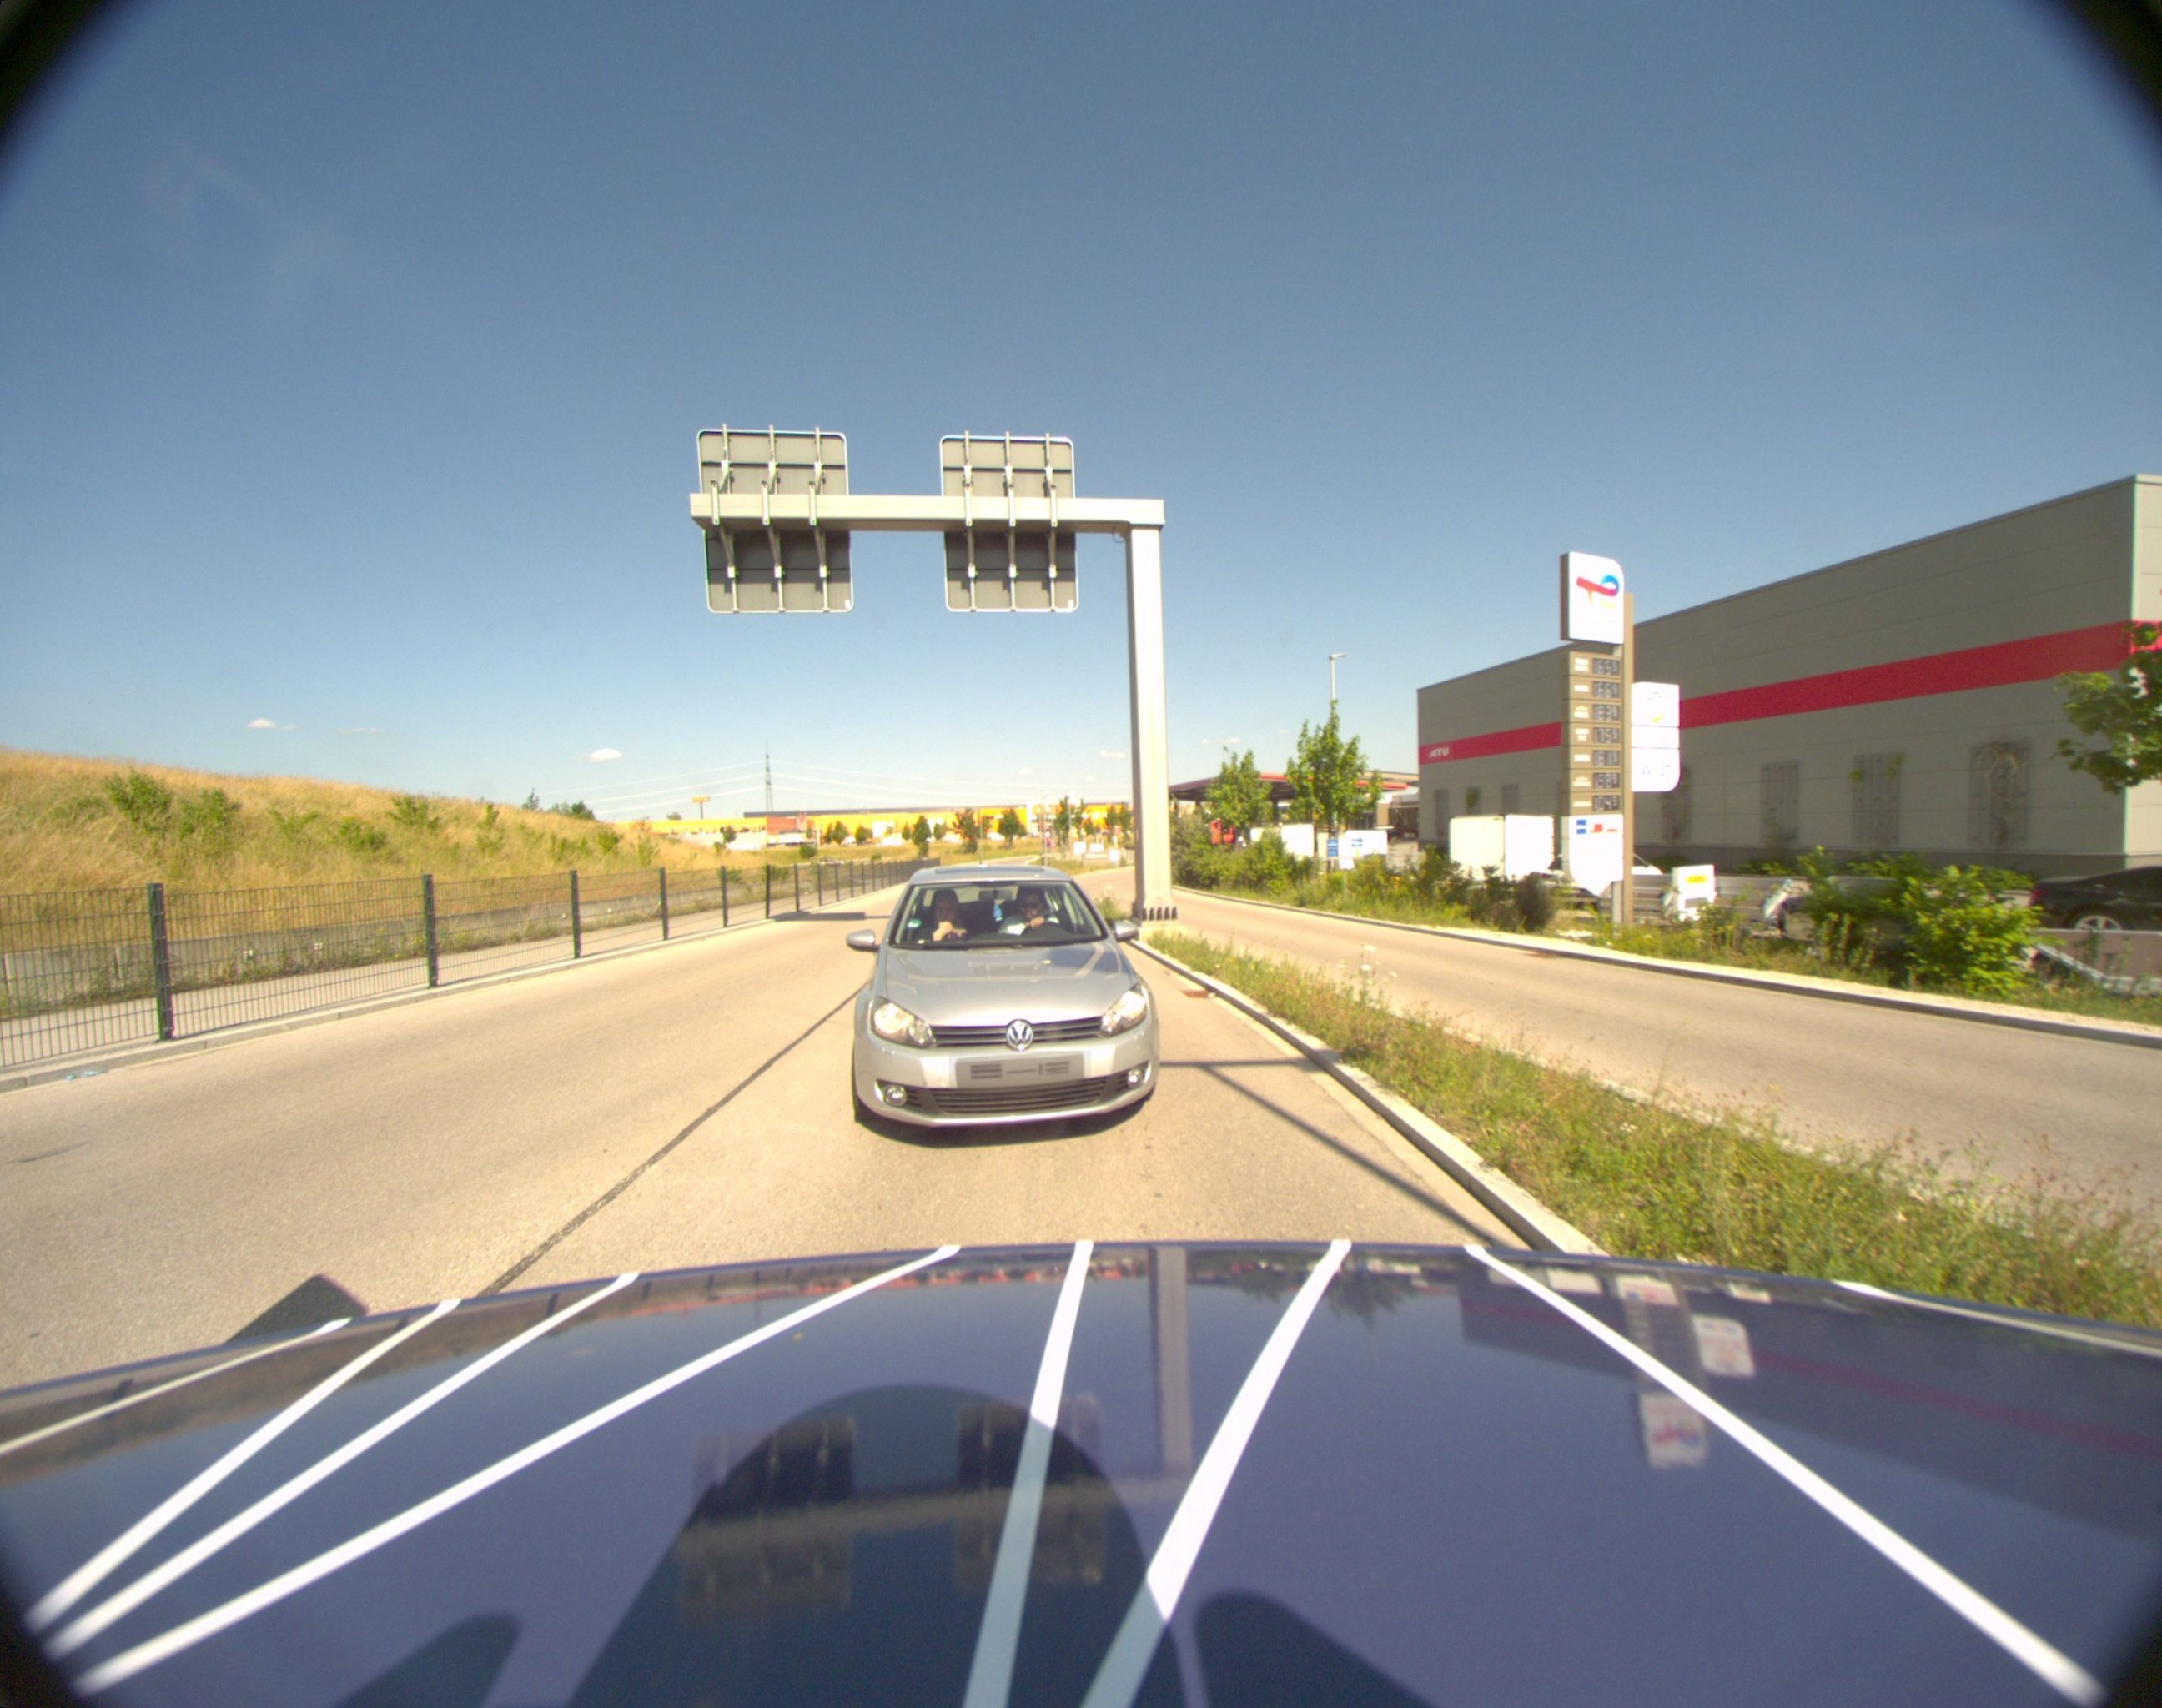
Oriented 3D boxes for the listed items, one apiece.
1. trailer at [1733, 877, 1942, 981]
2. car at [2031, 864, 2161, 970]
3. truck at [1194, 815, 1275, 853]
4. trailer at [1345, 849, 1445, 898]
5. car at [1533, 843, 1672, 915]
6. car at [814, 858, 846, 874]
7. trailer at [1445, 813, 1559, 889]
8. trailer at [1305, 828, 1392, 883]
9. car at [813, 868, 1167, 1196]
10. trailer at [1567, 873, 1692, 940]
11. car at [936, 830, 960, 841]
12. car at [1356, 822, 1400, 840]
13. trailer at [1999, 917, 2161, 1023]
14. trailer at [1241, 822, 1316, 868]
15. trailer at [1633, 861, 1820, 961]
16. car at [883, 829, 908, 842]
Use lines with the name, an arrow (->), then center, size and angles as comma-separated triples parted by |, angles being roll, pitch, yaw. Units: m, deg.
trailer -> 12.298, 1.138, 12.362 | 2.915, 1.314, 1.387 | -3, 2, -23
car -> 17.128, 0.972, 10.655 | 1.803, 1.475, 4.494 | -3, 1, -6
truck -> 14.409, -1.881, 71.374 | 6.910, 3.300, 2.637 | -3, 2, -17
trailer -> 11.512, 0.682, 27.792 | 3.605, 1.502, 1.596 | -4, 1, -34
car -> 13.556, 0.573, 19.690 | 4.006, 1.527, 1.714 | -4, 2, -36
car -> -35.172, 1.683, 106.660 | 4.000, 2.002, 1.998 | -2, 1, -10
trailer -> 12.301, -0.116, 22.162 | 3.245, 2.002, 1.743 | -4, 2, -38
trailer -> 10.672, 0.039, 30.317 | 2.741, 2.002, 1.995 | -4, 2, -34
car -> -0.694, 0.905, 5.751 | 1.747, 1.459, 3.957 | 0, 1, -8
trailer -> 11.330, 1.025, 15.667 | 2.780, 1.080, 1.317 | -4, 2, -37
car -> -26.494, -3.752, 151.454 | 4.637, 2.002, 1.998 | -3, 2, -11
car -> 29.163, -2.276, 74.658 | 3.683, 1.566, 1.695 | -3, 2, -1
trailer -> 13.404, 1.451, 9.870 | 2.842, 0.877, 1.861 | -4, 2, -39
trailer -> 9.241, -0.437, 35.382 | 1.994, 2.002, 3.212 | -1, 2, 44
trailer -> 11.980, 0.965, 14.097 | 3.195, 1.475, 1.545 | -3, 2, -28
car -> -36.628, -3.643, 149.888 | 4.637, 2.534, 1.998 | -3, 2, -11
